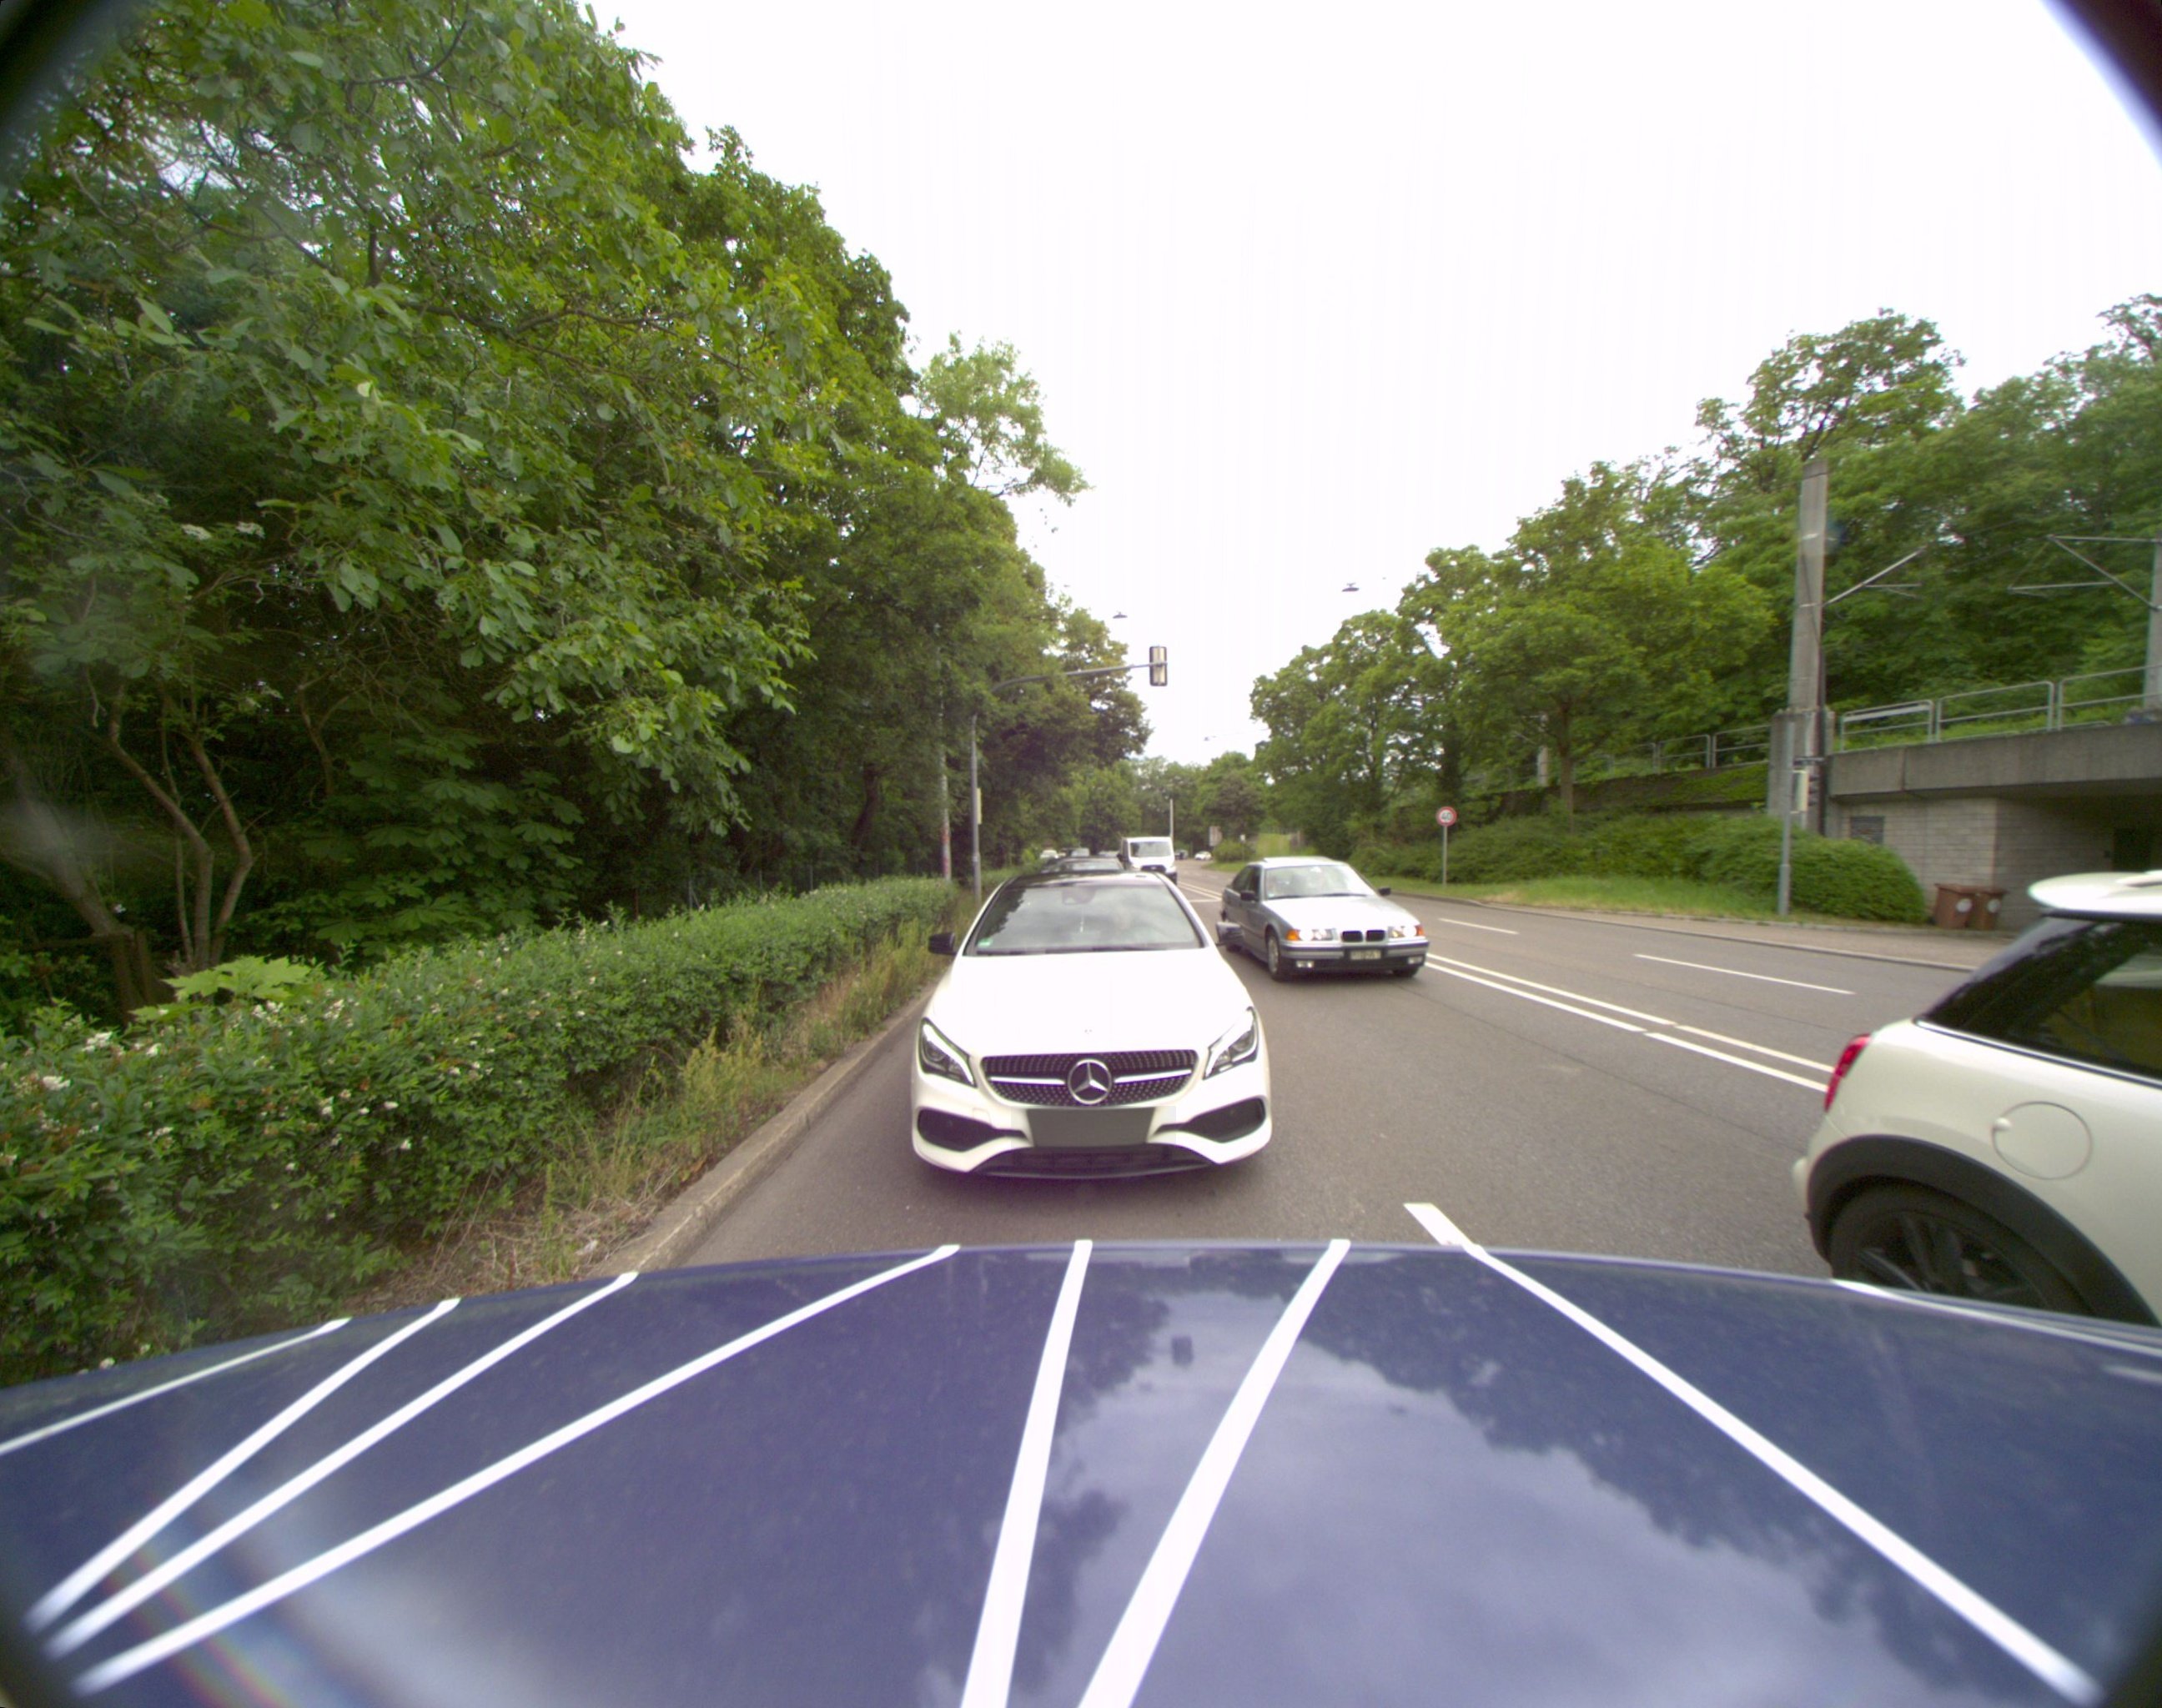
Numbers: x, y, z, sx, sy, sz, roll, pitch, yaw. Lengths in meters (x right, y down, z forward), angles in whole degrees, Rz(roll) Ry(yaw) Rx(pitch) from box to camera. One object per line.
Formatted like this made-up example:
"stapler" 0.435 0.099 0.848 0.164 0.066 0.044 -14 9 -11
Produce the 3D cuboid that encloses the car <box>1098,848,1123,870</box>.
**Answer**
"car" 2.221 0.375 57.545 1.855 1.583 4.000 0 0 1

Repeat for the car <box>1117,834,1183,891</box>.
"car" 2.855 0.303 33.079 2.285 2.187 6.458 -1 0 0

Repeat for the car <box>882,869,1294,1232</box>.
"car" 0.060 0.931 5.435 1.801 1.470 4.010 -2 0 1

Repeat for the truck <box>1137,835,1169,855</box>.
"truck" 11.614 -1.442 122.172 2.195 3.137 6.665 2 1 33

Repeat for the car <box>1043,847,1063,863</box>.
"car" -2.768 0.085 75.087 1.765 1.433 3.891 1 0 0

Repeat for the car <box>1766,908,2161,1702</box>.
"car" 2.891 0.886 0.383 1.688 1.415 3.732 -1 0 -1

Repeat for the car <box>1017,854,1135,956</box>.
"car" -0.114 0.792 13.746 1.756 1.417 4.009 3 1 -1

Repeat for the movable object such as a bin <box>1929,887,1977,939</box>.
"movable object such as a bin" 18.338 1.236 15.986 0.419 1.057 0.503 0 1 -4

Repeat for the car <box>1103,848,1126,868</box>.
"car" 2.946 0.343 66.553 1.854 1.641 4.358 1 0 3

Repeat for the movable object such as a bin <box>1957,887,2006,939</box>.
"movable object such as a bin" 19.026 1.235 16.058 0.419 1.057 0.503 0 1 -4

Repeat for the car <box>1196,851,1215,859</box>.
"car" 21.339 0.164 130.142 1.751 1.354 4.019 4 1 34

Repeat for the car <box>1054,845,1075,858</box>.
"car" -1.918 -0.290 90.185 1.754 1.575 4.013 1 0 10

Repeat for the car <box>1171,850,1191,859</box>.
"car" 17.216 0.109 130.608 1.751 1.354 4.019 4 1 35

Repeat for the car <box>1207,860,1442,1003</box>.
"car" 2.876 0.820 9.958 1.664 1.382 4.182 -1 0 -1
